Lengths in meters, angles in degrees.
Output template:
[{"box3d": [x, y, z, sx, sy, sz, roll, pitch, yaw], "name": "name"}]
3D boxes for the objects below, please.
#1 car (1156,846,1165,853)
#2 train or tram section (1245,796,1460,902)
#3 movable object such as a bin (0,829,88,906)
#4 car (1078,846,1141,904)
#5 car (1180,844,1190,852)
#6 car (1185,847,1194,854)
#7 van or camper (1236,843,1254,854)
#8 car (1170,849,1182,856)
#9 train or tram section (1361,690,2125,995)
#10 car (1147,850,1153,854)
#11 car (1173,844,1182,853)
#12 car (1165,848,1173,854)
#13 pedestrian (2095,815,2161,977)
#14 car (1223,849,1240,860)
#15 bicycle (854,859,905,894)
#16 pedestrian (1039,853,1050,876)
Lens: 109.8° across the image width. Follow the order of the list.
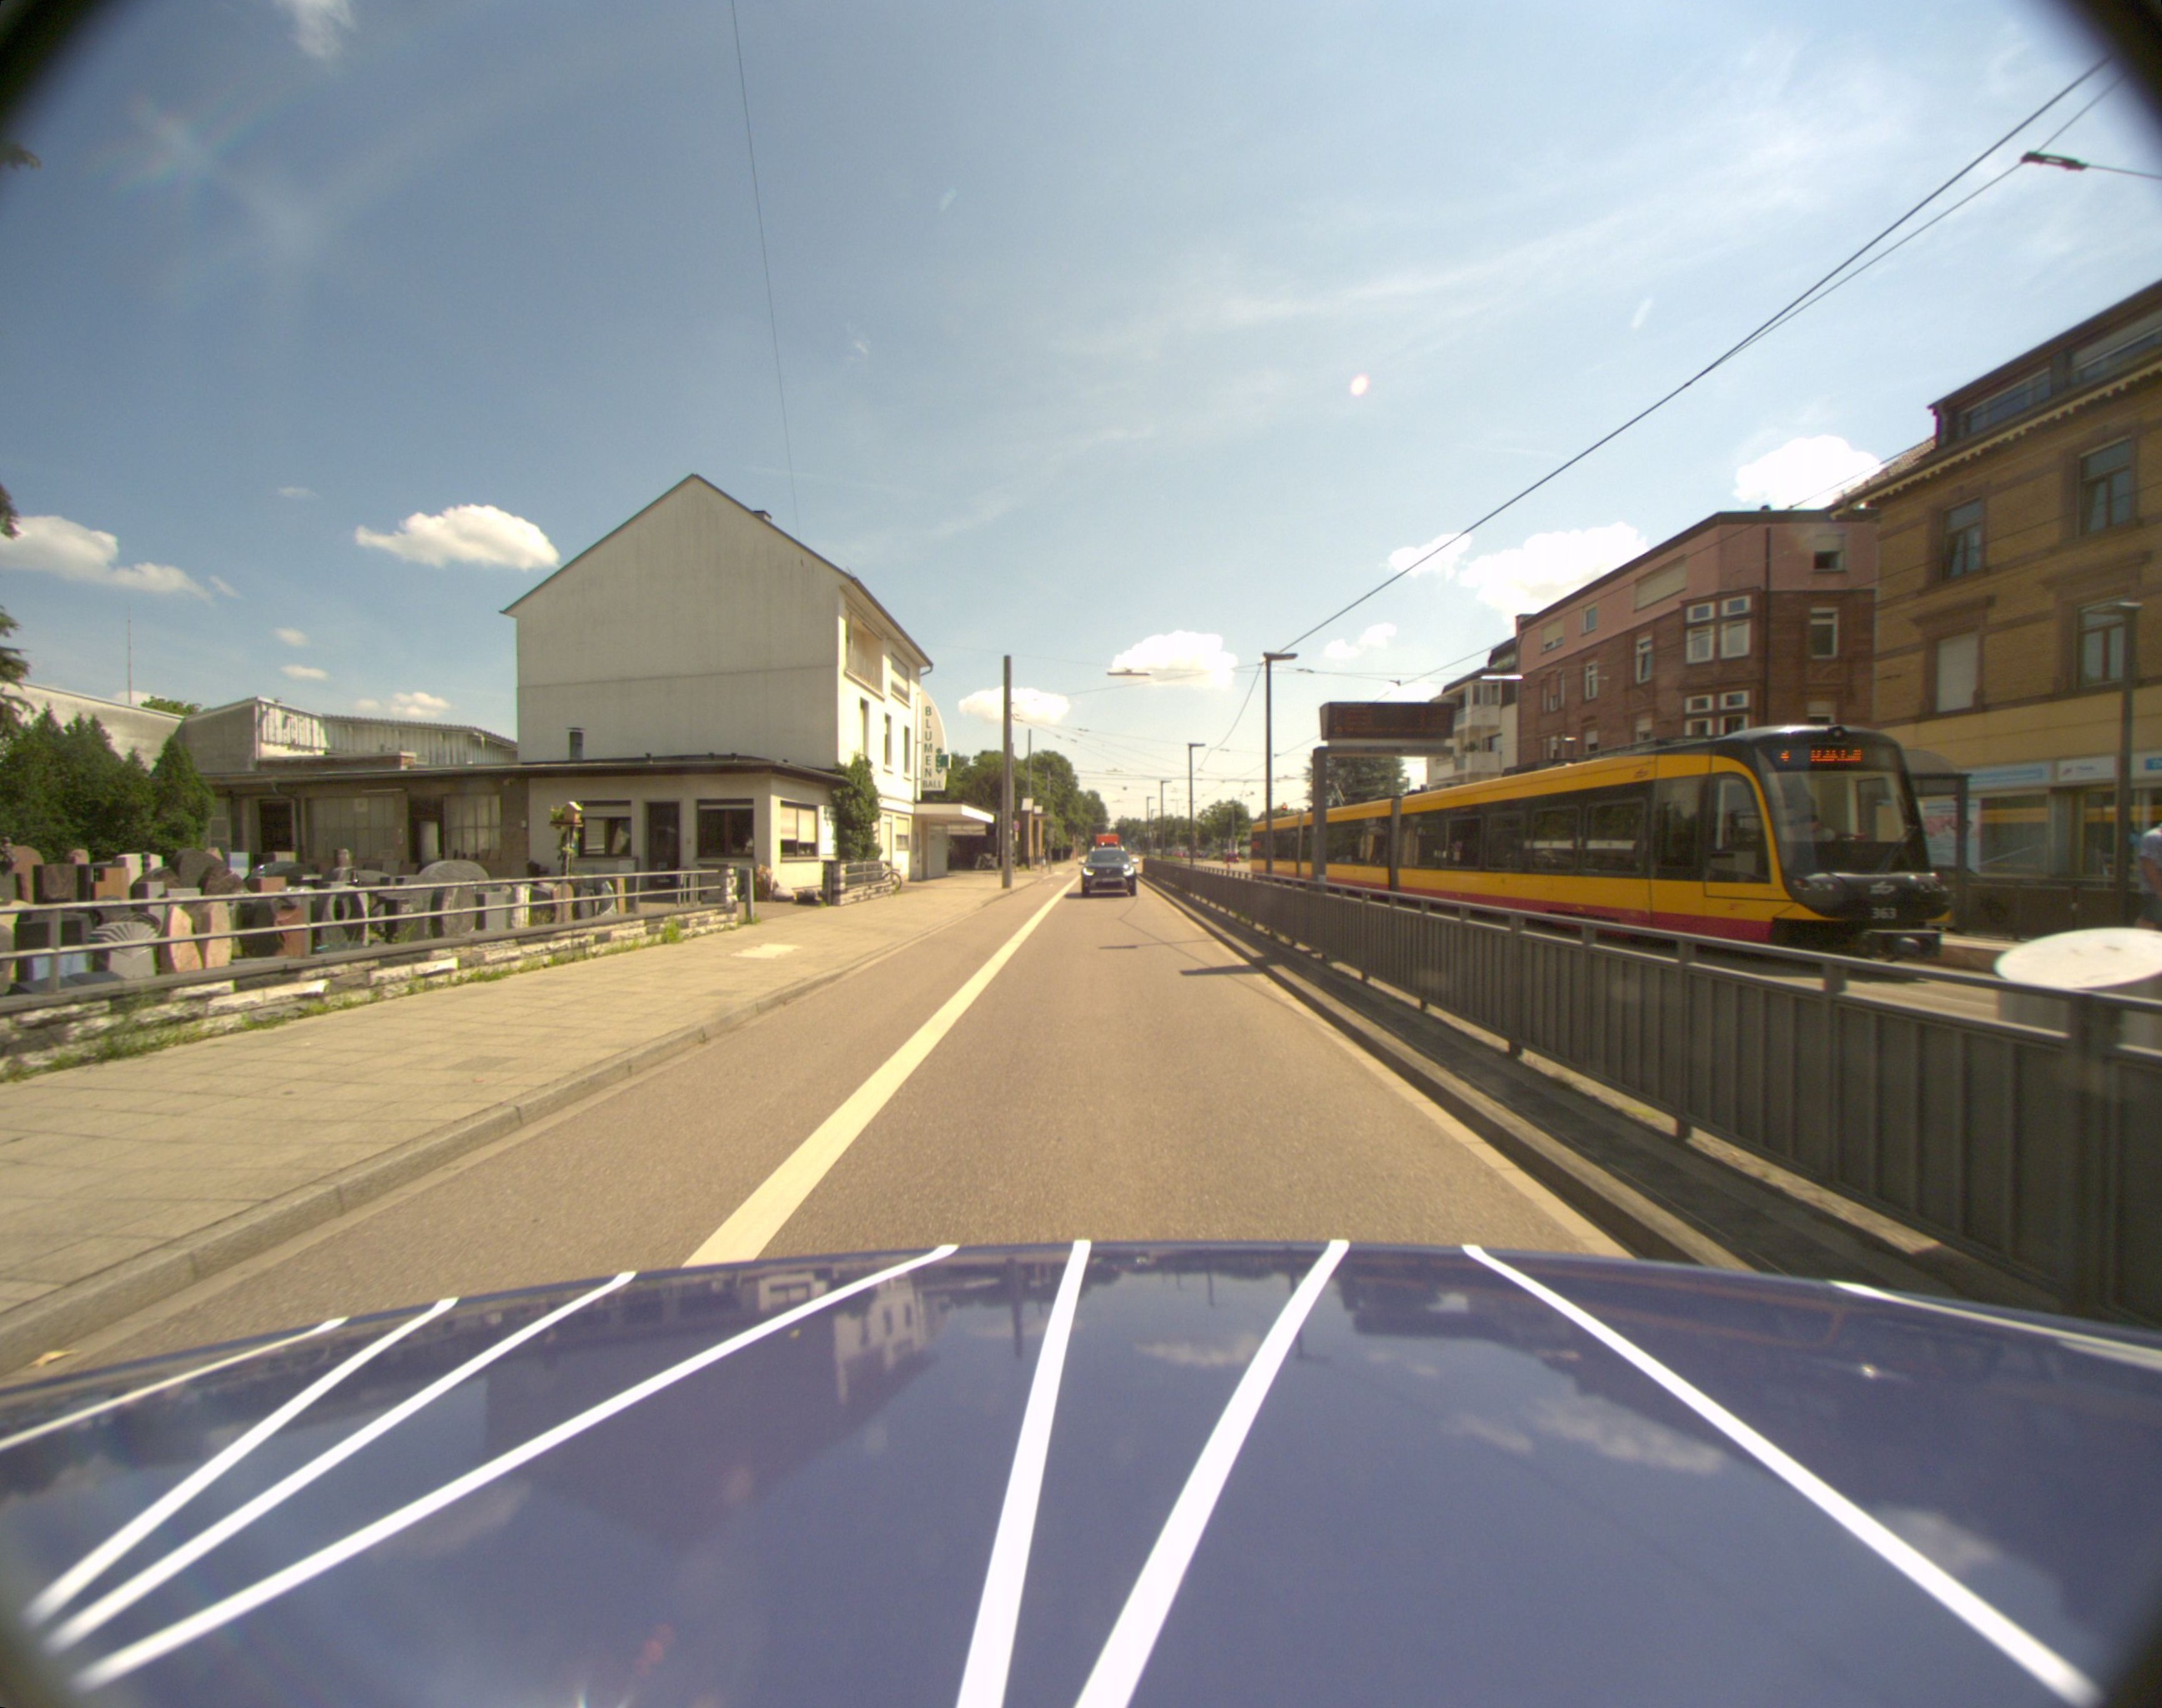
[{"box3d": [22.792, -1.264, 217.792, 1.863, 1.865, 4.554, 0, 0, -2], "name": "car"}, {"box3d": [11.246, -0.309, 35.508, 3.258, 3.547, 20.500, 0, 1, 2], "name": "train or tram section"}, {"box3d": [-32.637, 0.380, 22.852, 1.996, 2.255, 2.763, 1, 1, 15], "name": "movable object such as a bin"}, {"box3d": [0.989, 0.614, 24.840, 1.845, 1.565, 4.486, -1, 3, 4], "name": "car"}, {"box3d": [26.105, -1.411, 191.273, 1.966, 1.953, 4.000, 0, 0, 1], "name": "car"}, {"box3d": [25.567, -0.879, 179.144, 1.744, 1.587, 4.000, 0, 0, 1], "name": "car"}, {"box3d": [50.276, -1.677, 232.942, 5.157, 3.099, 2.247, 0, 1, 1], "name": "van or camper"}, {"box3d": [19.576, -0.359, 156.962, 1.998, 1.441, 4.821, -1, 0, 3], "name": "car"}, {"box3d": [10.689, -0.240, 17.040, 3.243, 3.547, 16.348, 0, 1, 2], "name": "train or tram section"}, {"box3d": [23.589, -0.711, 260.156, 1.744, 1.587, 4.000, 0, 0, 1], "name": "car"}, {"box3d": [26.160, -1.490, 206.227, 1.744, 2.573, 4.000, 0, 0, 1], "name": "car"}, {"box3d": [26.398, -0.987, 227.962, 1.744, 1.683, 4.000, 0, 0, 1], "name": "car"}, {"box3d": [12.298, 0.462, 8.431, 0.762, 1.789, 0.952, 0, 1, 1], "name": "pedestrian"}, {"box3d": [19.907, 0.053, 100.781, 1.658, 1.436, 3.853, 1, 1, 2], "name": "car"}, {"box3d": [-6.612, 0.728, 24.957, 1.535, 1.080, 0.430, 2, 1, 8], "name": "bicycle"}, {"box3d": [-2.731, 0.776, 56.479, 0.563, 1.656, 0.683, 1, 1, 25], "name": "pedestrian"}]
